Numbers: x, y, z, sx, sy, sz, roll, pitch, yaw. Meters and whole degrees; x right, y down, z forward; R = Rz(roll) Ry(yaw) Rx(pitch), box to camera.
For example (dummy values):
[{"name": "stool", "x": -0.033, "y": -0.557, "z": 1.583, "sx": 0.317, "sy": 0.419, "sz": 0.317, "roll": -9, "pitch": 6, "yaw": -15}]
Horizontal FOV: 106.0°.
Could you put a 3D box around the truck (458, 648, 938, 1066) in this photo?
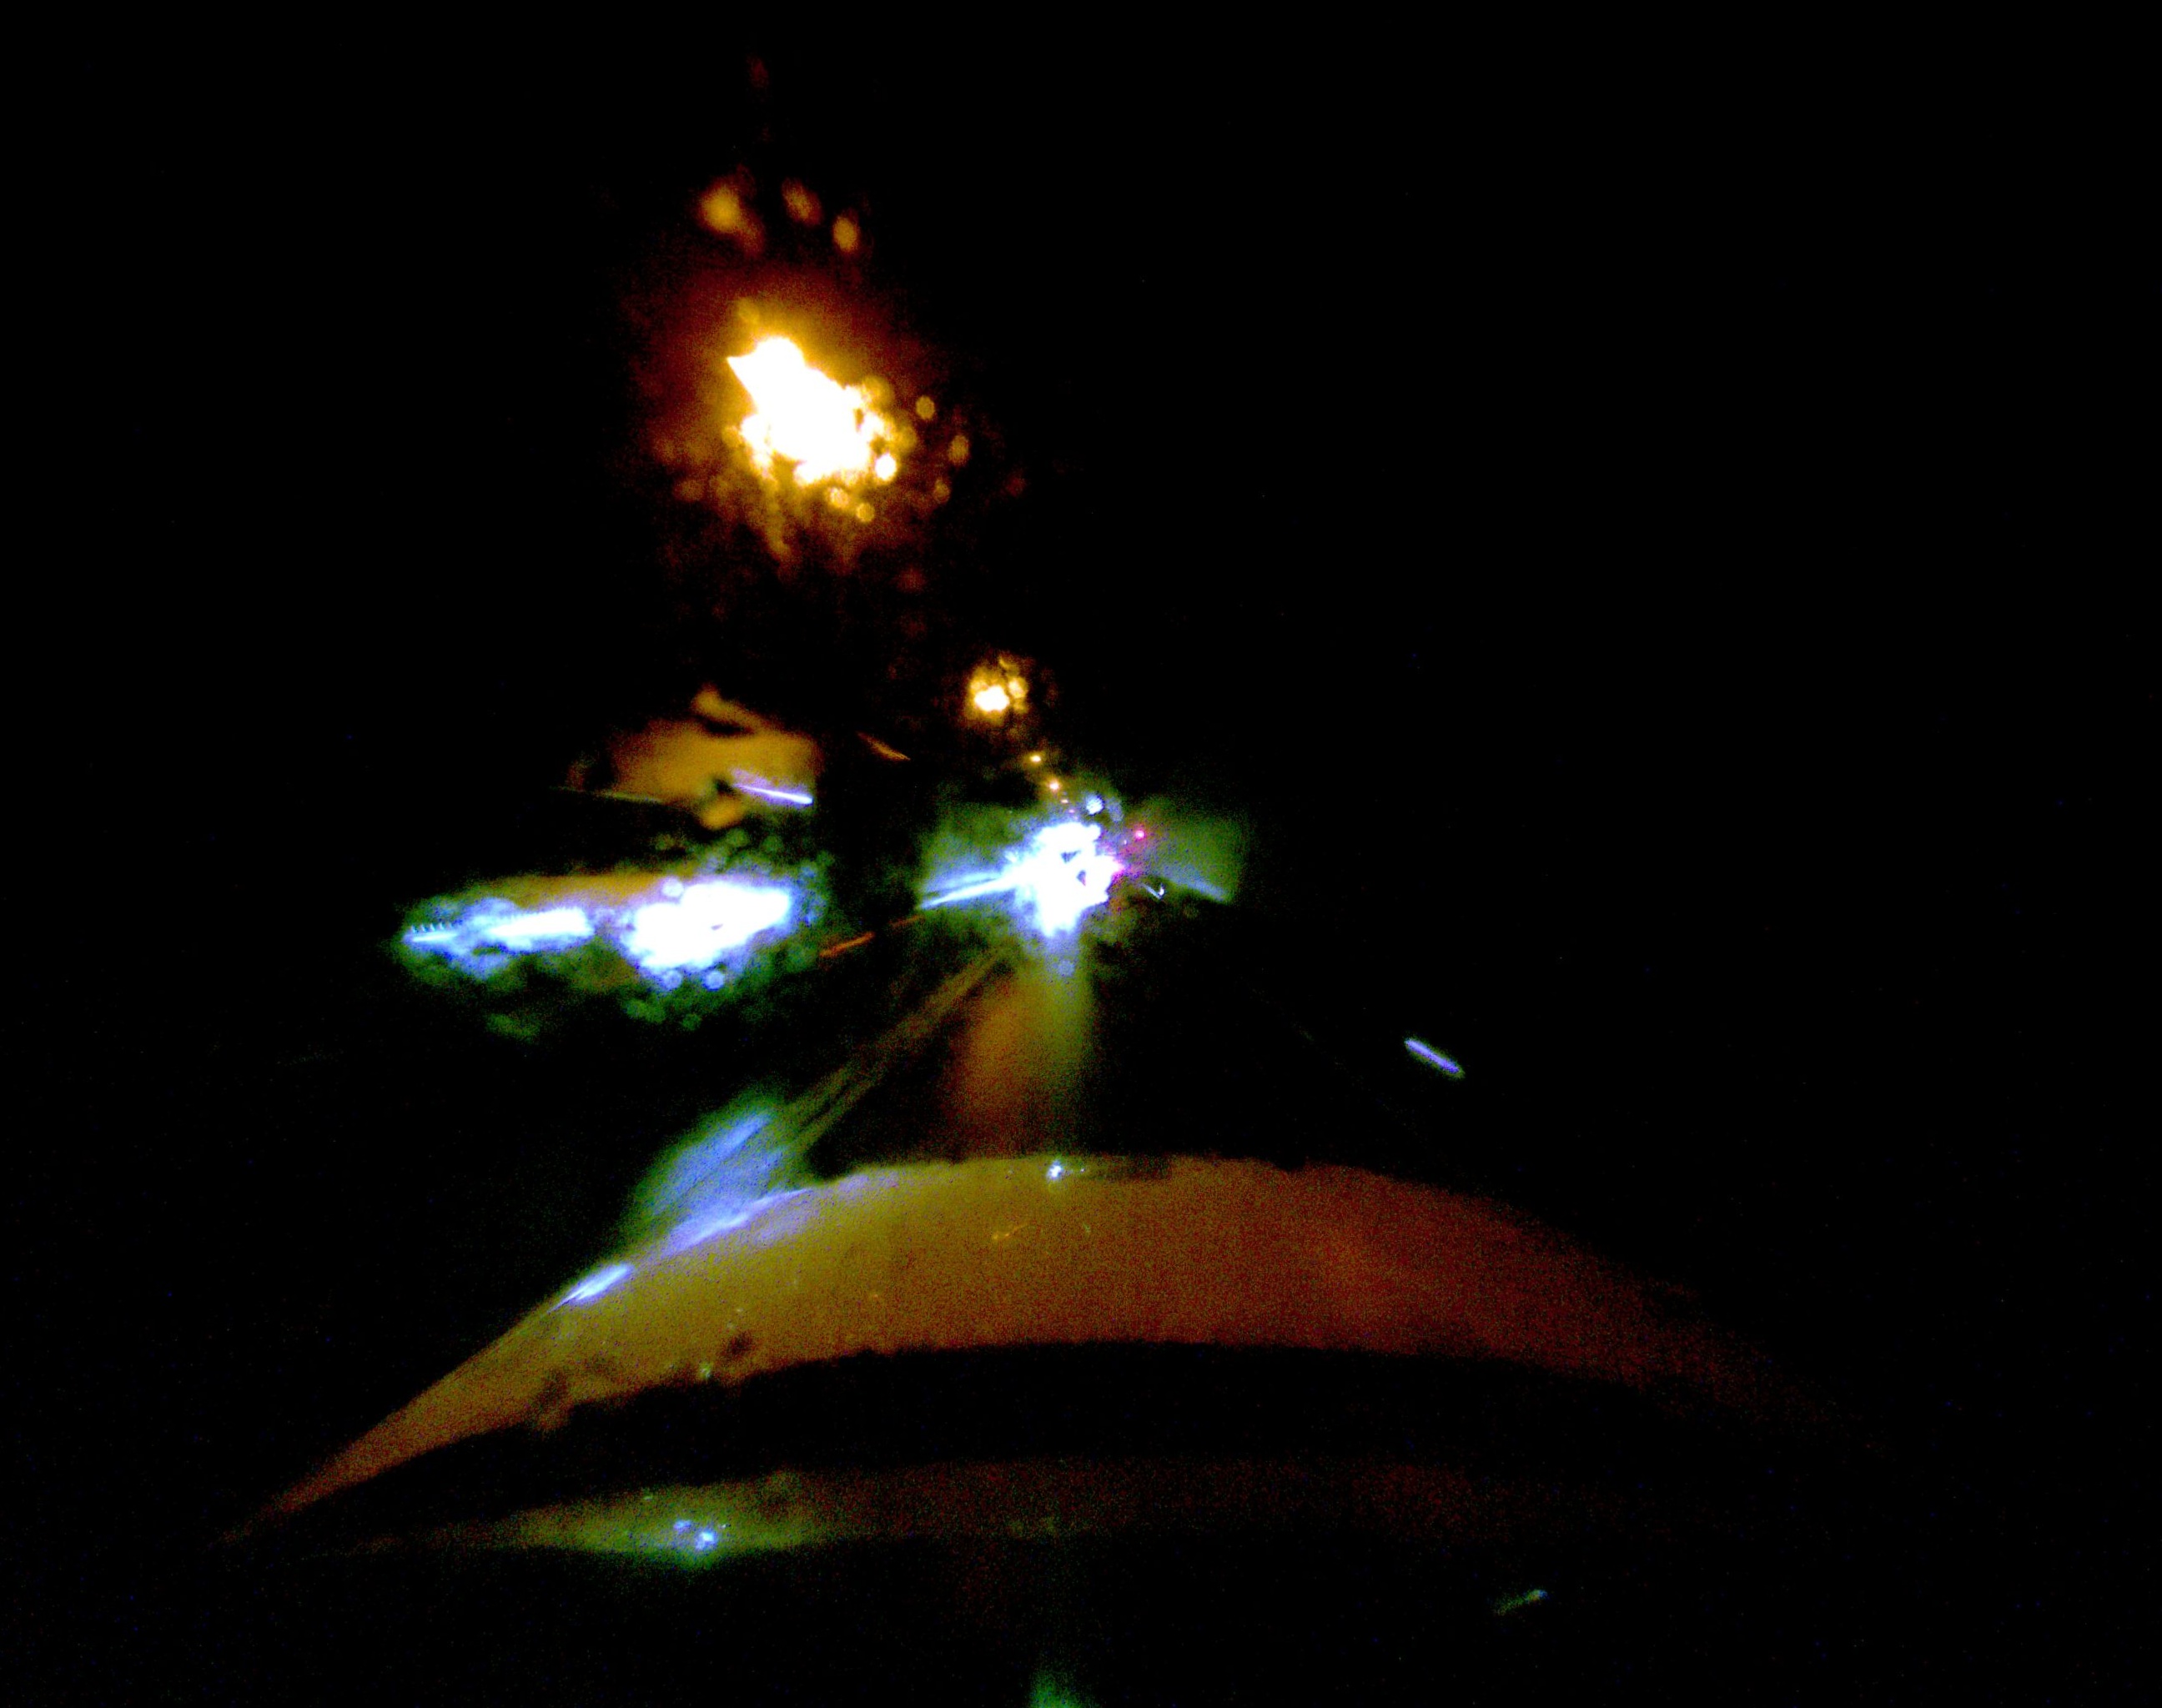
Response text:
[{"name": "truck", "x": -3.359, "y": 0.017, "z": 9.215, "sx": 2.272, "sy": 3.016, "sz": 6.593, "roll": -1, "pitch": 0, "yaw": 0}]

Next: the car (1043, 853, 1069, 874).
[{"name": "car", "x": -1.842, "y": 0.681, "z": 60.316, "sx": 1.788, "sy": 1.482, "sz": 3.868, "roll": -1, "pitch": 0, "yaw": 0}]

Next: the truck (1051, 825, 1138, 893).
[{"name": "truck", "x": 0.713, "y": 0.222, "z": 38.110, "sx": 3.522, "sy": 2.693, "sz": 8.959, "roll": -2, "pitch": 0, "yaw": 2}]
